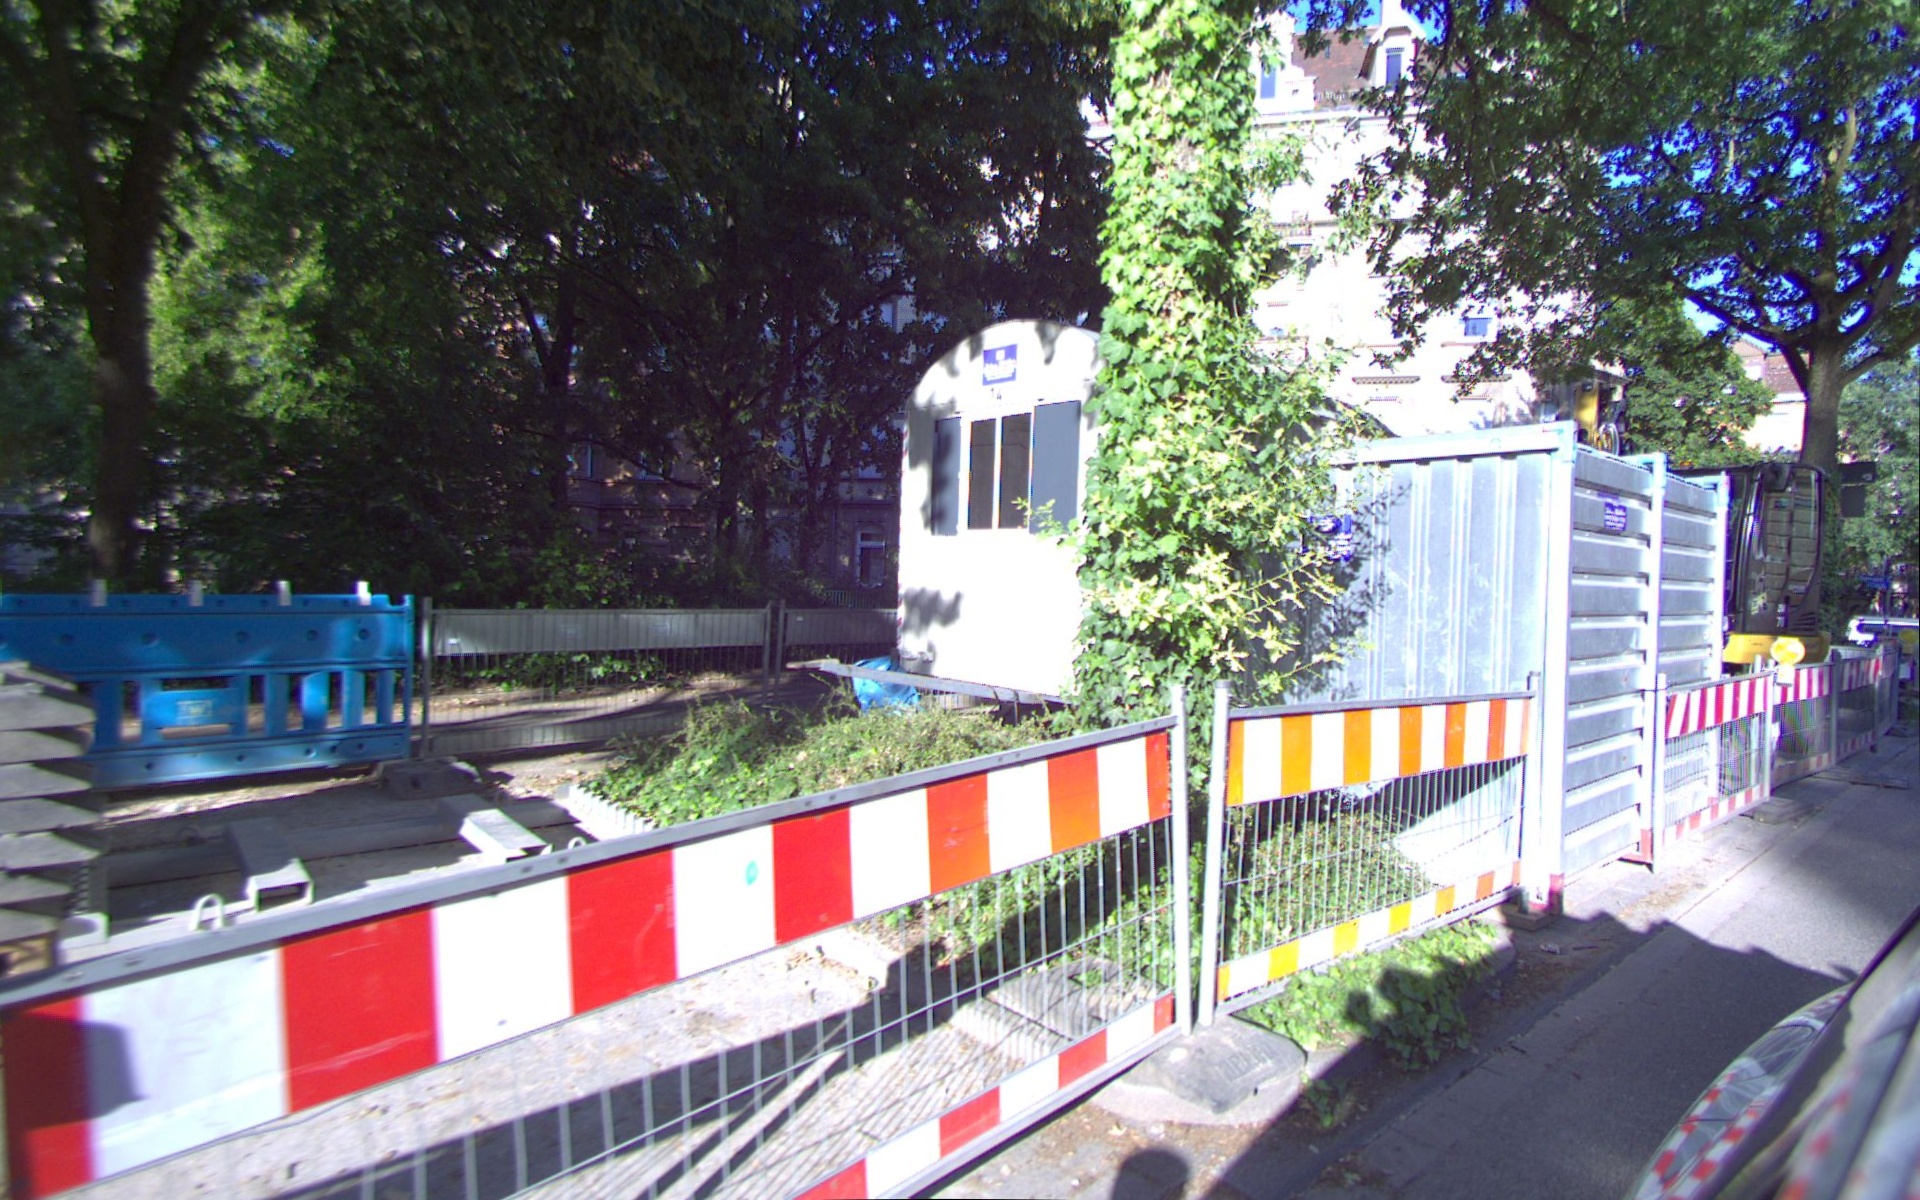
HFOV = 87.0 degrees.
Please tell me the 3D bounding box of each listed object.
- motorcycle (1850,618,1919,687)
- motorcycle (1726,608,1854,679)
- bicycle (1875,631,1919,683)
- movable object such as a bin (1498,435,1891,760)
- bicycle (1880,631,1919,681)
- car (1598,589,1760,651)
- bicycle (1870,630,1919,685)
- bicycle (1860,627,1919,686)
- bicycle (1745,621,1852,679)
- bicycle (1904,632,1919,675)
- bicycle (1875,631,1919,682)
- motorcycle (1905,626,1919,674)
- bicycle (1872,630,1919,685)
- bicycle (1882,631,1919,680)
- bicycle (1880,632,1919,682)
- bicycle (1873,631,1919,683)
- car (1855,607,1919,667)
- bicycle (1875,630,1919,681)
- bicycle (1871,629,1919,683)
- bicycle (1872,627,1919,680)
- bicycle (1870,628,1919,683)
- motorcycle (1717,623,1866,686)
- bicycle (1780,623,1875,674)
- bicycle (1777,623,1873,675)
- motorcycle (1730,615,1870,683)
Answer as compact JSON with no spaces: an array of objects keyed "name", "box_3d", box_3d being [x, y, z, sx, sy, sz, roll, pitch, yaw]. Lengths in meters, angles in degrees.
[{"name":"motorcycle","box_3d":[20.739,1.147,21.958,0.921,1.430,1.942,2,0,-13]},{"name":"motorcycle","box_3d":[19.739,0.998,24.107,2.283,1.551,0.744,2,0,44]},{"name":"bicycle","box_3d":[24.325,1.463,25.440,1.924,1.262,0.298,2,-1,44]},{"name":"movable object such as a bin","box_3d":[7.315,-0.004,10.125,3.047,2.733,2.003,2,0,-28]},{"name":"bicycle","box_3d":[25.030,1.466,26.090,1.924,1.262,0.298,2,-1,44]},{"name":"car","box_3d":[33.582,0.884,47.426,5.895,2.569,2.342,2,0,44]},{"name":"bicycle","box_3d":[22.902,1.383,24.010,1.924,1.262,0.298,2,-1,44]},{"name":"bicycle","box_3d":[21.561,1.287,22.766,1.924,1.262,0.298,2,-1,44]},{"name":"bicycle","box_3d":[19.928,1.160,24.079,1.924,1.262,0.472,2,-1,44]},{"name":"bicycle","box_3d":[26.601,1.505,27.126,0.436,1.141,1.821,3,2,-41]},{"name":"bicycle","box_3d":[24.762,1.468,25.926,1.924,1.262,0.298,2,-1,44]},{"name":"motorcycle","box_3d":[27.168,1.454,27.505,0.888,1.300,2.027,3,2,-42]},{"name":"bicycle","box_3d":[23.145,1.404,24.241,1.906,1.262,0.298,2,-1,44]},{"name":"bicycle","box_3d":[25.475,1.478,26.531,1.924,1.262,0.298,2,-1,44]},{"name":"bicycle","box_3d":[25.255,1.508,26.321,1.924,1.262,0.298,2,-1,44]},{"name":"bicycle","box_3d":[24.071,1.447,25.213,1.924,1.262,0.298,2,-1,44]},{"name":"car","box_3d":[36.173,1.418,36.931,2.068,2.122,4.983,3,0,-40]},{"name":"bicycle","box_3d":[24.539,1.430,25.682,1.924,1.262,0.298,2,-1,44]},{"name":"bicycle","box_3d":[23.355,1.370,24.493,1.924,1.262,0.298,2,-1,44]},{"name":"bicycle","box_3d":[23.832,1.340,24.976,1.924,1.262,0.298,2,-1,44]},{"name":"bicycle","box_3d":[22.676,1.322,23.772,1.924,1.262,0.298,2,-1,44]},{"name":"motorcycle","box_3d":[17.950,1.143,21.923,0.951,1.195,2.293,2,0,-28]},{"name":"bicycle","box_3d":[23.577,1.309,27.528,1.924,1.262,0.472,2,-1,44]},{"name":"bicycle","box_3d":[23.212,1.293,27.176,1.924,1.262,0.472,2,-1,44]},{"name":"motorcycle","box_3d":[18.596,1.062,22.465,0.643,1.358,2.293,2,0,-29]}]
